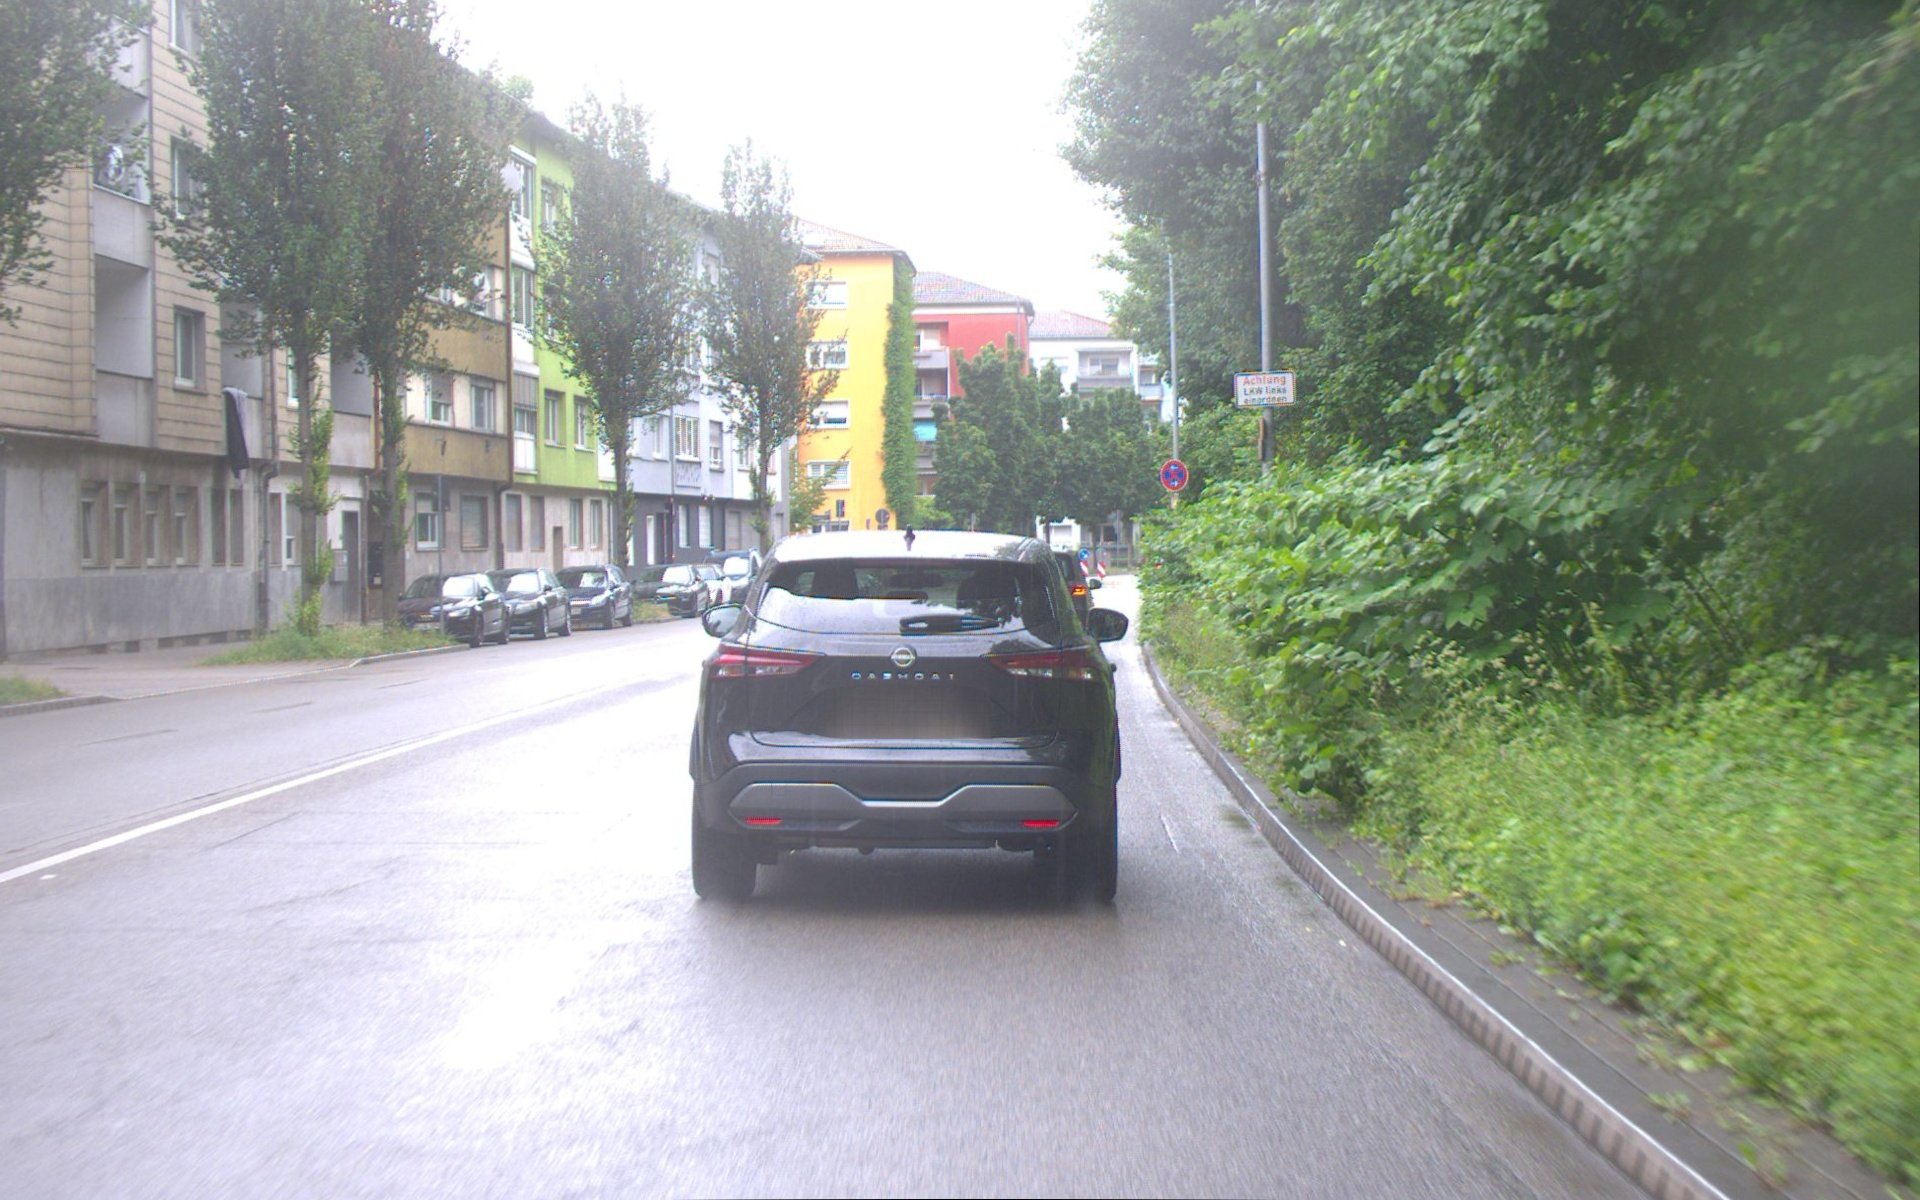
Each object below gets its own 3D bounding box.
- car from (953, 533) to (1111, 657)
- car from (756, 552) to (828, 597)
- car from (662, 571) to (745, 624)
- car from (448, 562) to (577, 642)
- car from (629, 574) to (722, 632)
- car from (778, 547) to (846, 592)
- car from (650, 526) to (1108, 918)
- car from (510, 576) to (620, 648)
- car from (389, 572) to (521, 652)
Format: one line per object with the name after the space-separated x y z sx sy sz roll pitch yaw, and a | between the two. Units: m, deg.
1.075 -0.099 49.425 1.887 1.705 3.999 0 1 7 | car
-5.651 -0.859 116.064 1.688 1.353 4.578 -4 1 6 | car
-7.290 -0.080 97.990 1.680 1.371 3.999 -3 1 5 | car
-9.276 0.019 71.651 1.817 1.483 4.790 -2 1 2 | car
-7.566 0.067 91.796 1.817 1.367 4.680 -2 1 3 | car
-5.213 -1.076 121.349 1.681 1.444 4.275 -3 1 6 | car
-0.369 0.454 15.954 1.844 1.577 4.000 1 1 -1 | car
-9.172 0.257 80.182 1.718 1.483 4.514 -2 1 4 | car
-9.501 0.207 64.912 1.626 1.382 3.988 -1 1 4 | car
